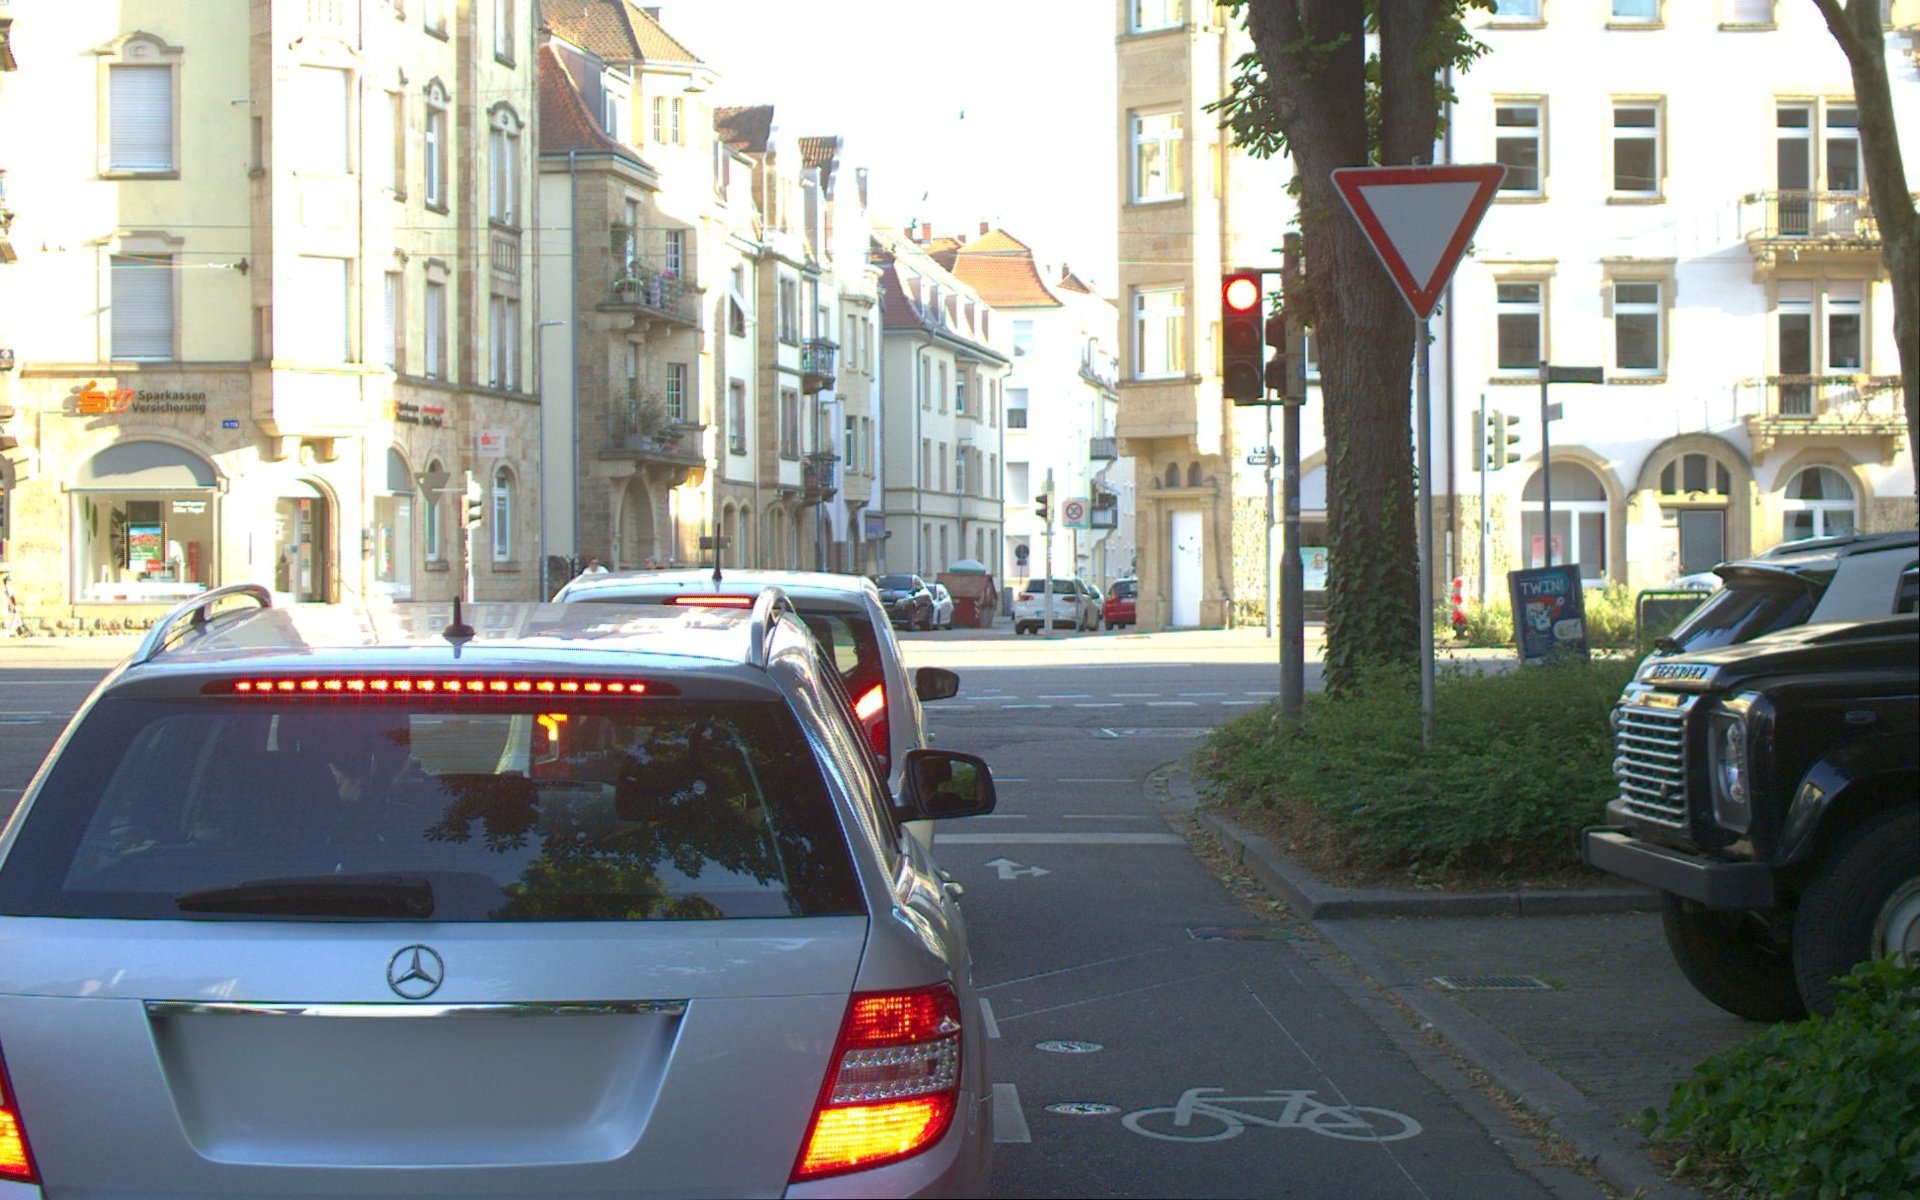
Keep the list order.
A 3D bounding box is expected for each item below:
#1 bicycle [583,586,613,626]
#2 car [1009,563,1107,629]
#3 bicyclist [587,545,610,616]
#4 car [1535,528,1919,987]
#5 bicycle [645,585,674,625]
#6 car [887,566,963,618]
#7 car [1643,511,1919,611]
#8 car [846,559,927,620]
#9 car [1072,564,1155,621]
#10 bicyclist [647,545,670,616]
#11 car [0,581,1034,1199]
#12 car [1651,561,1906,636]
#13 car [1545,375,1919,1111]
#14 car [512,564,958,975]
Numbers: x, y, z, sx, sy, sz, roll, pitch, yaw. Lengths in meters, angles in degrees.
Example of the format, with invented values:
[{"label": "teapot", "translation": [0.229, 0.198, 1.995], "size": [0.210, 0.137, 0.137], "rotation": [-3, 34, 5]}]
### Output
[{"label": "bicycle", "translation": [-7.709, 0.122, 73.280], "size": [0.568, 0.832, 1.566], "rotation": [0, 1, -4]}, {"label": "car", "translation": [2.480, -0.119, 85.931], "size": [1.722, 1.473, 3.998], "rotation": [-2, 1, 12]}, {"label": "bicyclist", "translation": [-7.710, -0.417, 73.310], "size": [0.466, 1.509, 0.655], "rotation": [0, 1, -4]}, {"label": "car", "translation": [4.139, 0.507, 13.071], "size": [3.480, 1.580, 1.711], "rotation": [-2, 1, -6]}, {"label": "bicycle", "translation": [-6.403, 0.104, 73.293], "size": [0.568, 0.832, 1.566], "rotation": [0, 1, -4]}, {"label": "car", "translation": [-1.087, -0.248, 108.707], "size": [1.651, 1.598, 3.861], "rotation": [0, 0, 11]}, {"label": "car", "translation": [12.658, -0.603, 51.945], "size": [4.285, 1.457, 1.787], "rotation": [0, 2, -1]}, {"label": "car", "translation": [-2.168, -0.299, 102.441], "size": [1.651, 1.777, 3.861], "rotation": [0, 0, 11]}, {"label": "car", "translation": [4.570, -0.224, 102.083], "size": [1.722, 1.473, 3.998], "rotation": [-4, 1, 12]}, {"label": "bicyclist", "translation": [-6.441, -0.427, 73.569], "size": [0.466, 1.516, 0.694], "rotation": [0, 1, -4]}, {"label": "car", "translation": [-0.849, 0.709, 6.456], "size": [1.690, 1.424, 3.493], "rotation": [1, 1, -3]}, {"label": "car", "translation": [11.912, -0.029, 50.123], "size": [3.364, 1.065, 1.380], "rotation": [0, 1, -1]}, {"label": "car", "translation": [4.191, 0.294, 10.190], "size": [4.490, 1.949, 1.793], "rotation": [-2, 1, -3]}, {"label": "car", "translation": [-0.844, 0.568, 13.687], "size": [1.533, 1.386, 3.600], "rotation": [0, 1, -2]}]
